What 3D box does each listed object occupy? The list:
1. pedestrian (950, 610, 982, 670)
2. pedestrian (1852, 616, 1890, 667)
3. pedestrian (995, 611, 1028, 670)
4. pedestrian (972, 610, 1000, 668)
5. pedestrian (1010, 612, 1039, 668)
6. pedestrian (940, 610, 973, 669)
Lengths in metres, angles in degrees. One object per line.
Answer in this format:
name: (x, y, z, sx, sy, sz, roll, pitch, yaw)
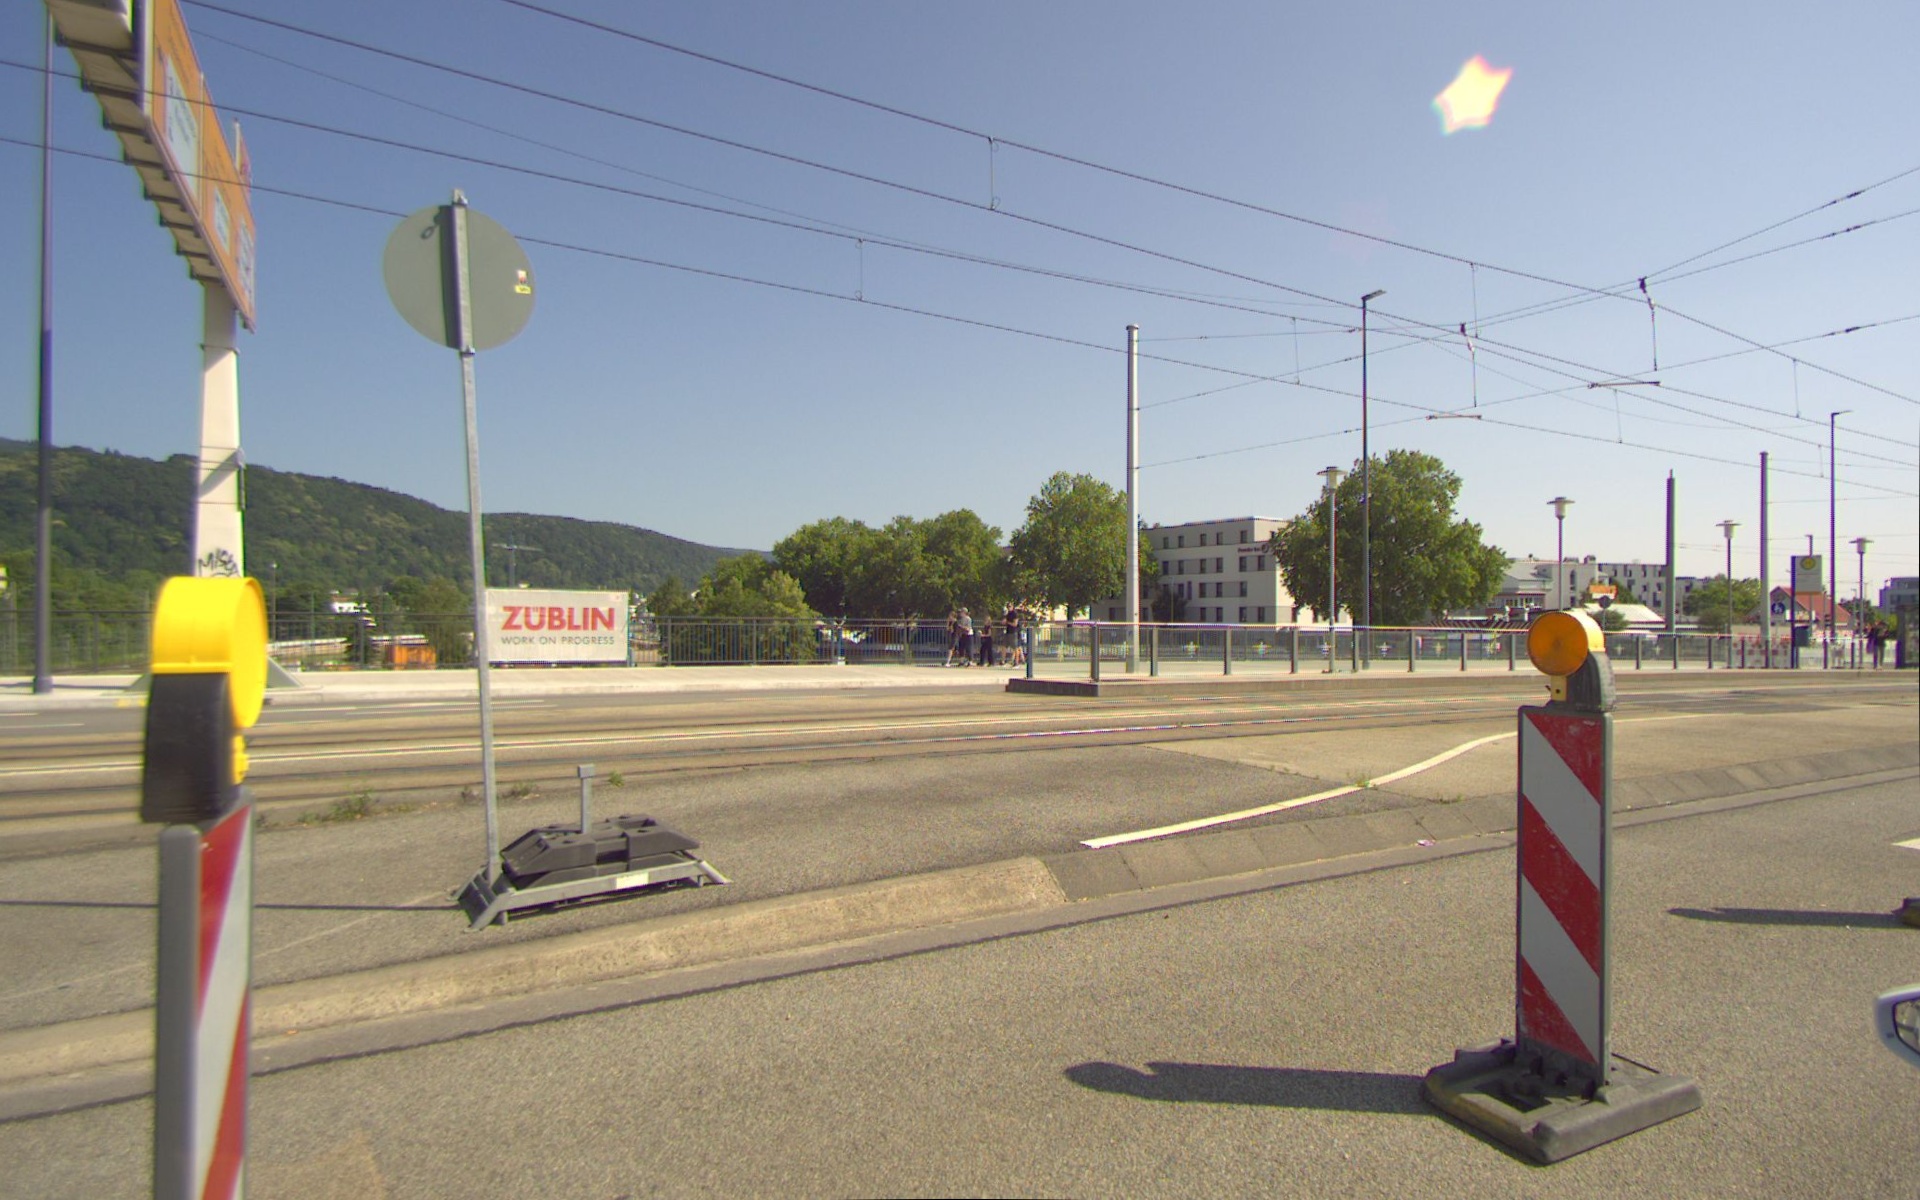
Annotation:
pedestrian: (0.180, 1.161, 29.148, 0.798, 1.709, 0.484, 0, -1, -28)
pedestrian: (30.109, 1.354, 33.196, 0.727, 1.676, 0.660, 1, -1, -17)
pedestrian: (1.522, 1.191, 29.722, 0.722, 1.709, 0.750, 0, -1, -28)
pedestrian: (0.774, 1.160, 30.015, 0.760, 1.709, 0.382, 0, -1, -28)
pedestrian: (1.998, 1.233, 31.248, 0.763, 1.709, 0.502, 0, -1, -28)
pedestrian: (-0.103, 1.157, 29.660, 0.807, 1.709, 0.595, 0, -1, -28)
